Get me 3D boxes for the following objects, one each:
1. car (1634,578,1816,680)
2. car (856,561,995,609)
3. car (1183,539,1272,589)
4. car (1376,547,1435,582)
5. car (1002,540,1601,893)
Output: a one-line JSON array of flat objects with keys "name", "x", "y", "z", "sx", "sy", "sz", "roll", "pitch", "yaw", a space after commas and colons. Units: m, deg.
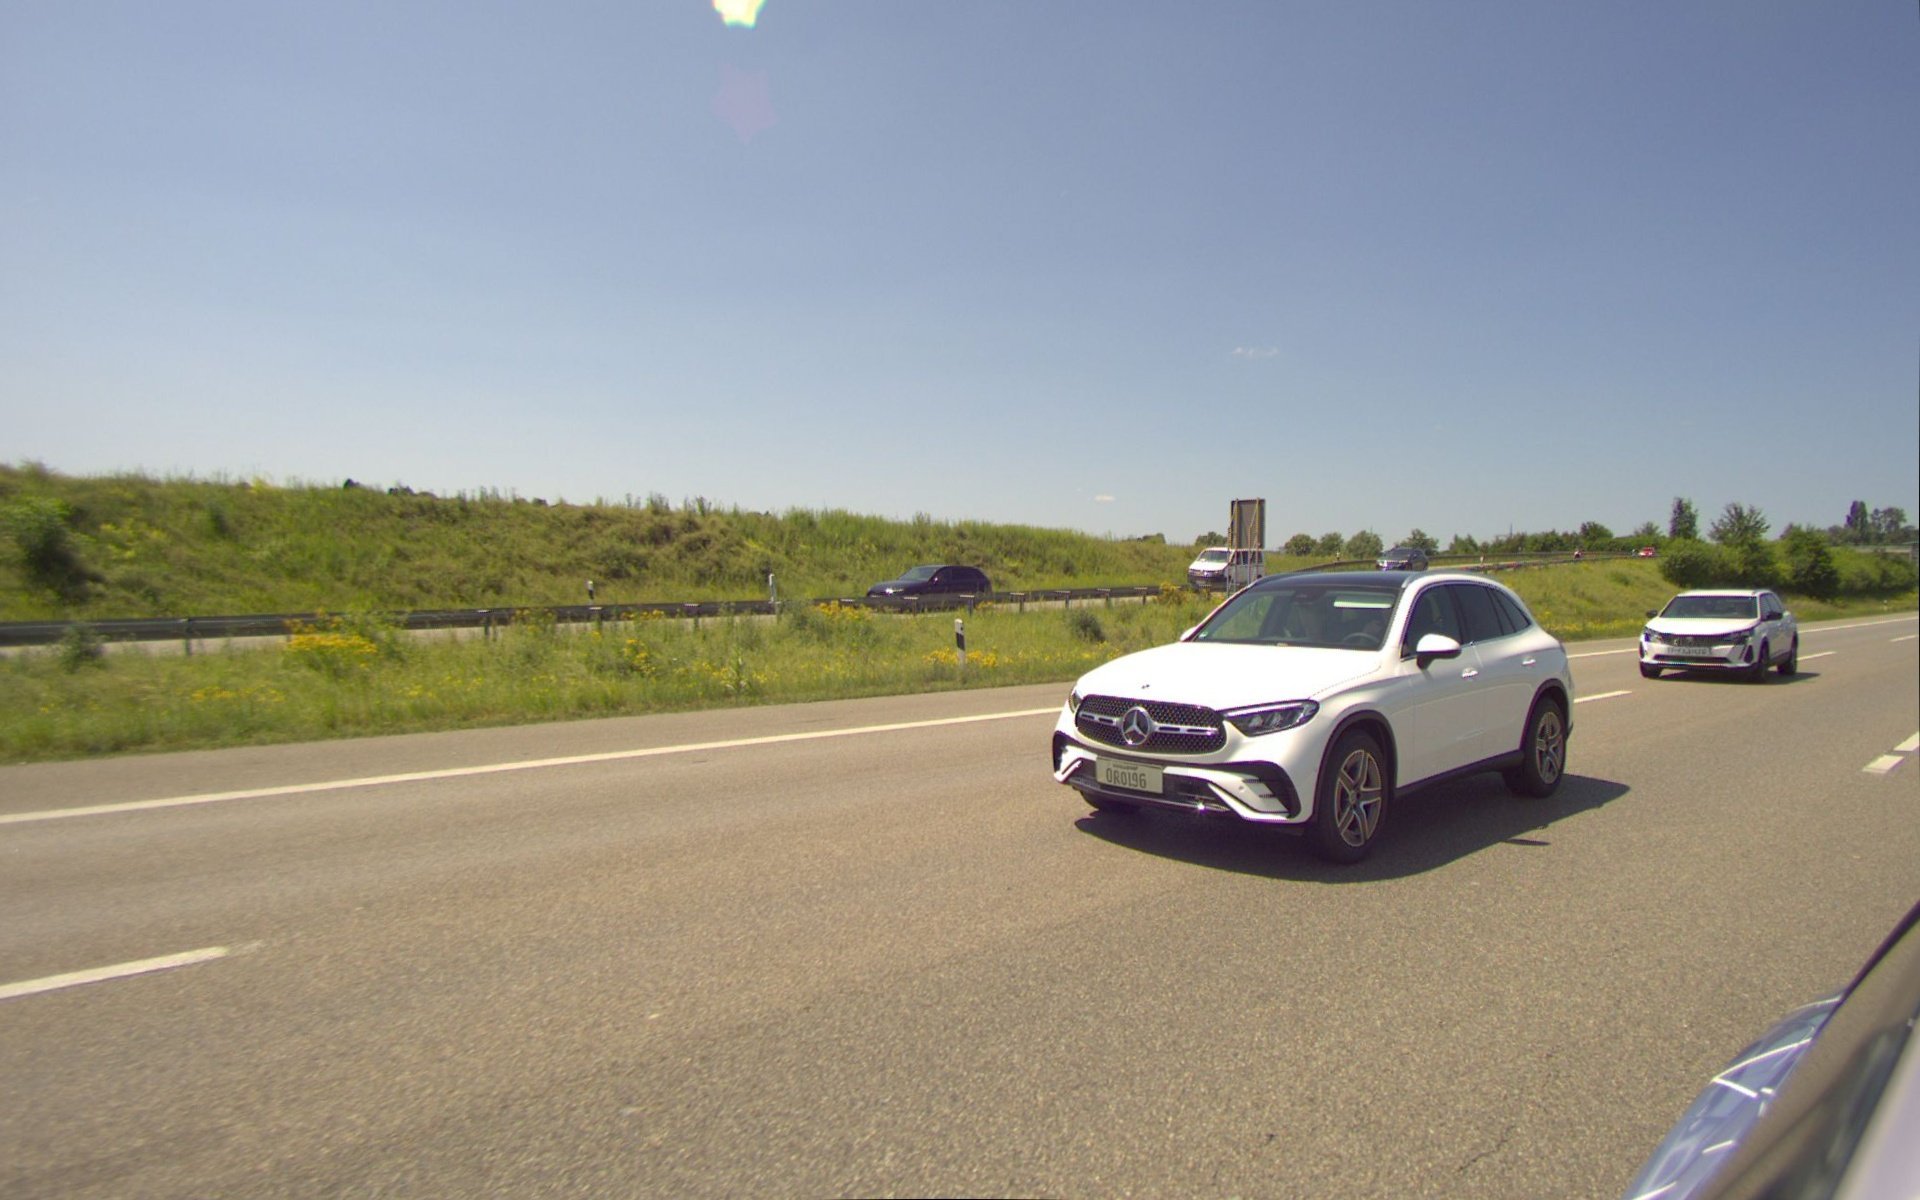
[{"name": "car", "x": 14.431, "y": 0.443, "z": 18.996, "sx": 4.538, "sy": 1.650, "sz": 1.896, "roll": -2, "pitch": 1, "yaw": -42}, {"name": "car", "x": -1.014, "y": -0.476, "z": 31.704, "sx": 1.993, "sy": 1.400, "sz": 4.231, "roll": 1, "pitch": 1, "yaw": 42}, {"name": "car", "x": 12.369, "y": -1.610, "z": 46.596, "sx": 1.992, "sy": 2.199, "sz": 4.819, "roll": 1, "pitch": 1, "yaw": 42}, {"name": "car", "x": 27.537, "y": -2.203, "z": 62.567, "sx": 3.935, "sy": 2.039, "sz": 1.995, "roll": -2, "pitch": 1, "yaw": -44}, {"name": "car", "x": 2.598, "y": 0.524, "z": 7.032, "sx": 4.555, "sy": 1.676, "sz": 1.908, "roll": -1, "pitch": 0, "yaw": -41}]
